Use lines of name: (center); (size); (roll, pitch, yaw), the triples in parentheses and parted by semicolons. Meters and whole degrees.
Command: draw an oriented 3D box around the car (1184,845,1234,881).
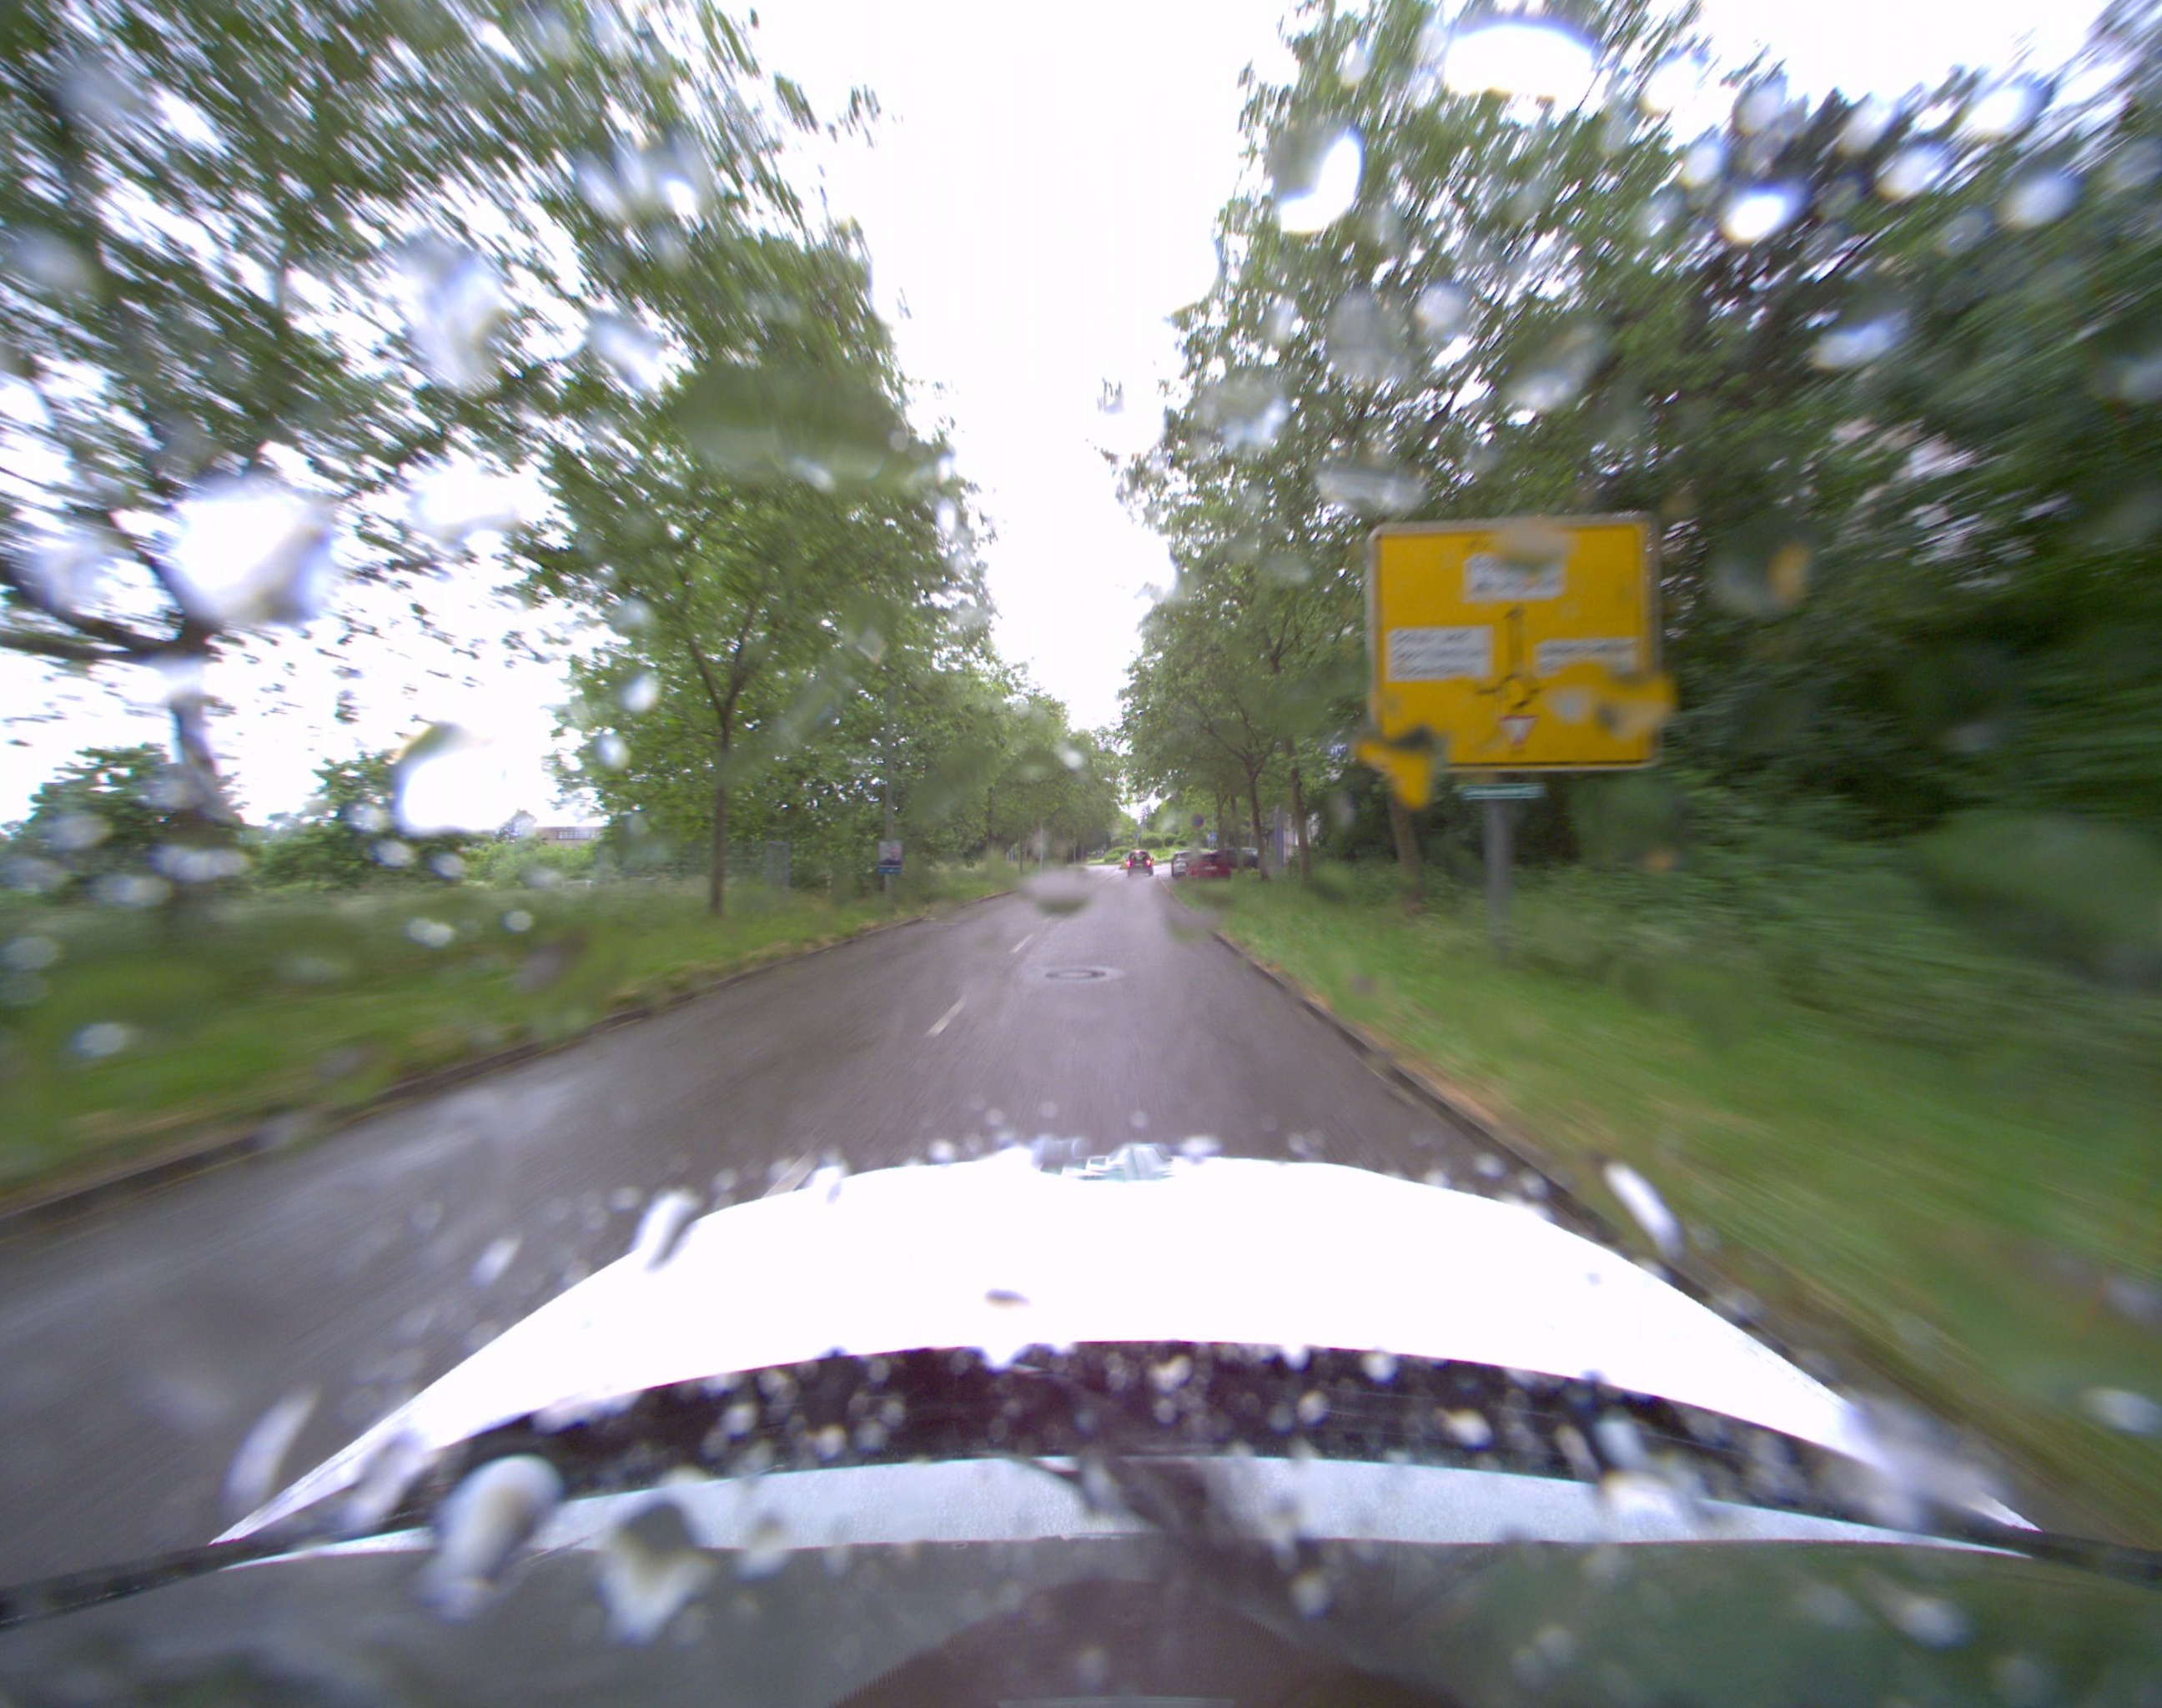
car: (5.403, 0.364, 34.803); (1.789, 1.372, 3.749); (-3, 0, 5)

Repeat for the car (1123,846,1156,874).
car: (4.286, 0.416, 59.415); (1.907, 1.801, 3.800); (-4, 0, 10)

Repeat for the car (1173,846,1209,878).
car: (6.186, 0.436, 46.094); (1.720, 1.591, 4.258); (-3, 0, 5)

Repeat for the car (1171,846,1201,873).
car: (6.766, 0.343, 52.829); (1.792, 1.602, 4.378); (-2, 0, 6)

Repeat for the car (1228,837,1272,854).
car: (17.472, -0.896, 84.297); (4.349, 1.759, 1.835); (0, 2, 10)

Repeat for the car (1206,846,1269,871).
car: (11.649, 0.329, 60.876); (4.447, 1.680, 1.771); (-1, 1, 6)
